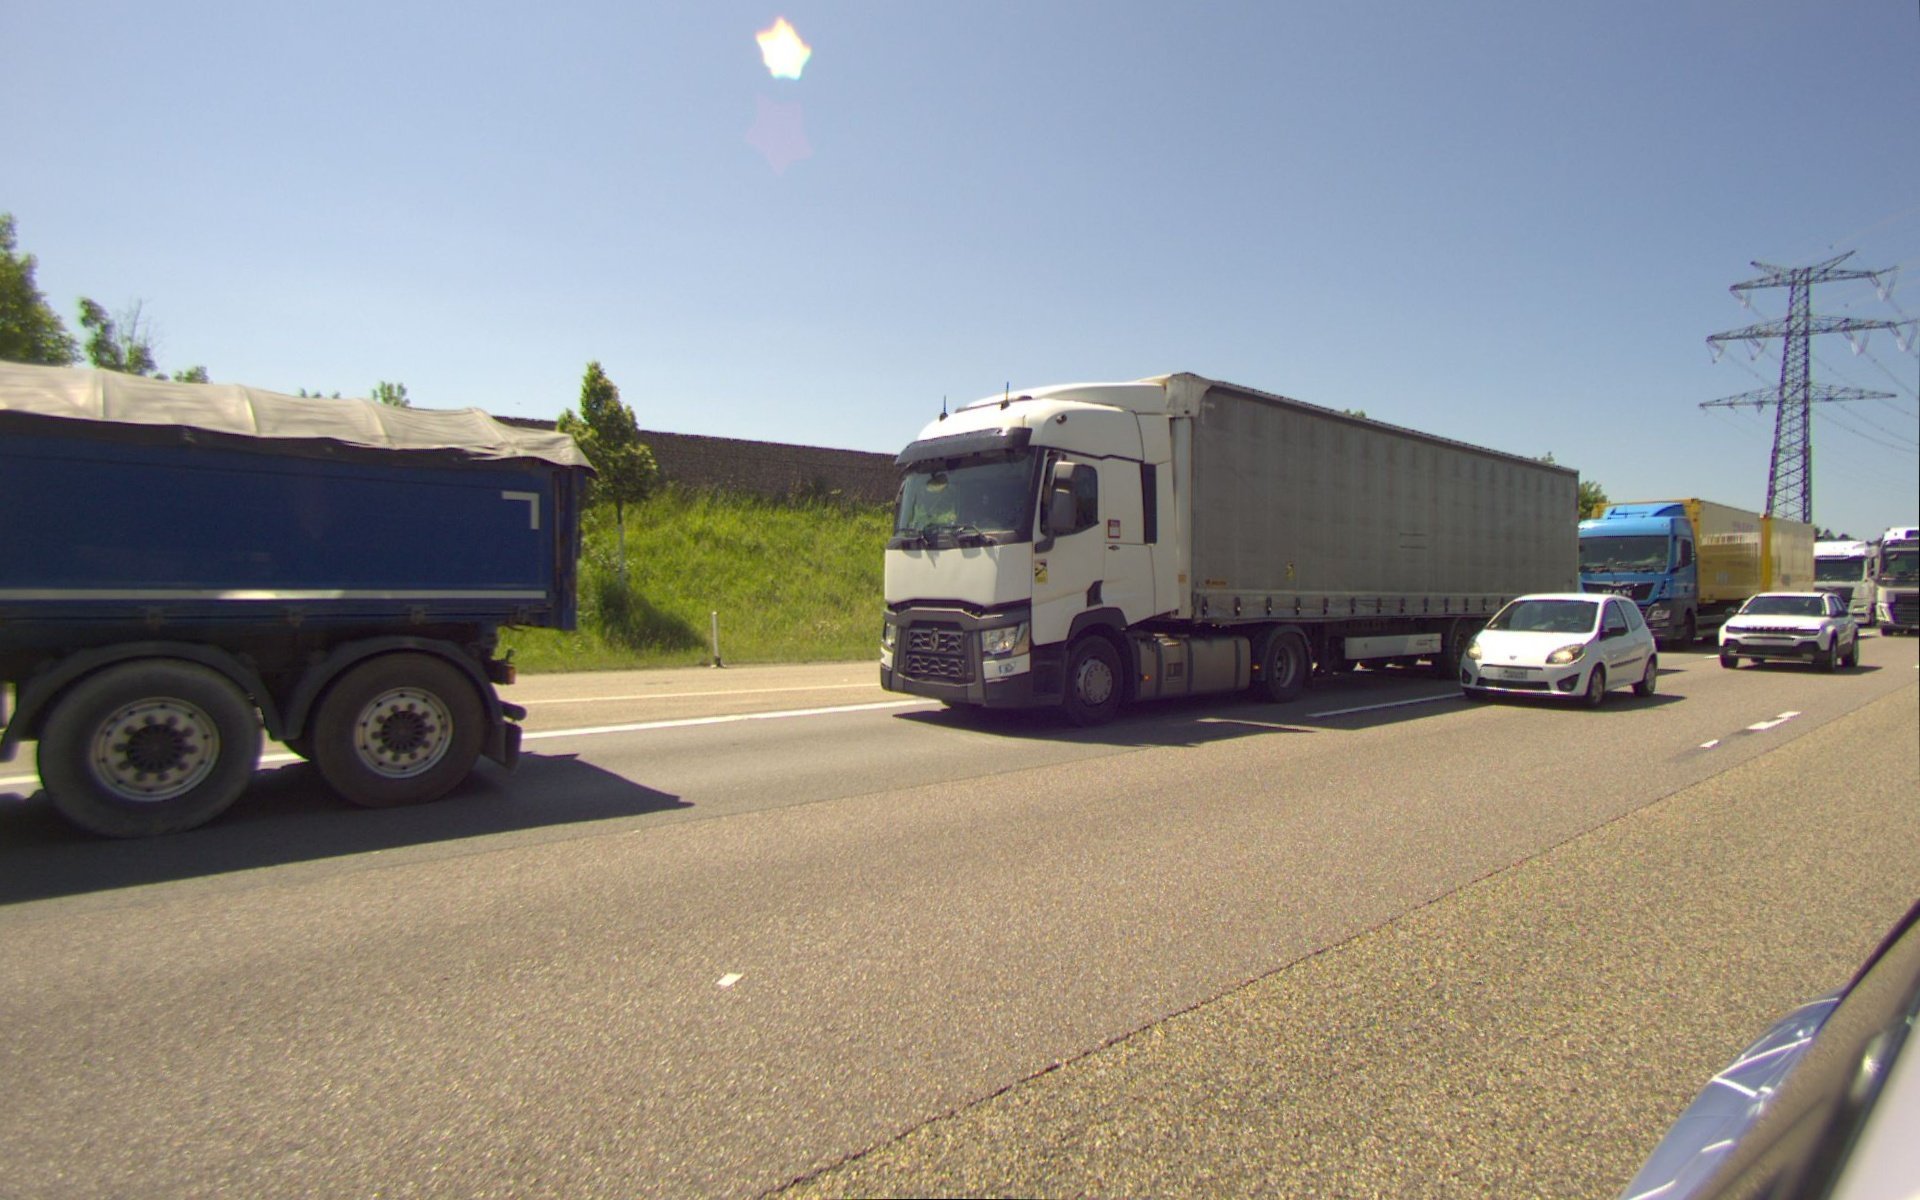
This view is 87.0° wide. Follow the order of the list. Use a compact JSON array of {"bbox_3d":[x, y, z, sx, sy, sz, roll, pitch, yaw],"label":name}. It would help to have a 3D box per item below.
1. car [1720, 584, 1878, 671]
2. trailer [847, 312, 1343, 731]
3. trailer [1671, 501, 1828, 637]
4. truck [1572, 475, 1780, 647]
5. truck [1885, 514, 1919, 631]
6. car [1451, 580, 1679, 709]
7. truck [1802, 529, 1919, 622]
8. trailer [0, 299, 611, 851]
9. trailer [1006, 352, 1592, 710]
[{"bbox_3d":[16.927,0.476,20.368,3.783,1.549,1.775,-1,1,-39],"label":"car"},{"bbox_3d":[1.972,-0.781,13.053,6.298,4.095,2.930,0,0,-41],"label":"trailer"},{"bbox_3d":[27.567,-0.956,35.132,9.215,4.169,2.769,0,0,-42],"label":"trailer"},{"bbox_3d":[20.642,-0.953,28.853,9.781,4.161,2.769,0,0,-42],"label":"truck"},{"bbox_3d":[39.162,-0.998,39.428,14.000,4.089,2.717,0,0,-40],"label":"truck"},{"bbox_3d":[8.543,0.505,14.186,3.759,1.529,1.658,-1,2,-41],"label":"car"},{"bbox_3d":[42.787,-1.088,47.891,11.098,3.980,2.694,-1,0,-40],"label":"truck"},{"bbox_3d":[-6.817,-0.134,5.507,8.955,2.872,2.749,0,0,-41],"label":"trailer"},{"bbox_3d":[6.702,-0.808,17.152,13.510,4.101,2.968,0,0,-41],"label":"trailer"}]
